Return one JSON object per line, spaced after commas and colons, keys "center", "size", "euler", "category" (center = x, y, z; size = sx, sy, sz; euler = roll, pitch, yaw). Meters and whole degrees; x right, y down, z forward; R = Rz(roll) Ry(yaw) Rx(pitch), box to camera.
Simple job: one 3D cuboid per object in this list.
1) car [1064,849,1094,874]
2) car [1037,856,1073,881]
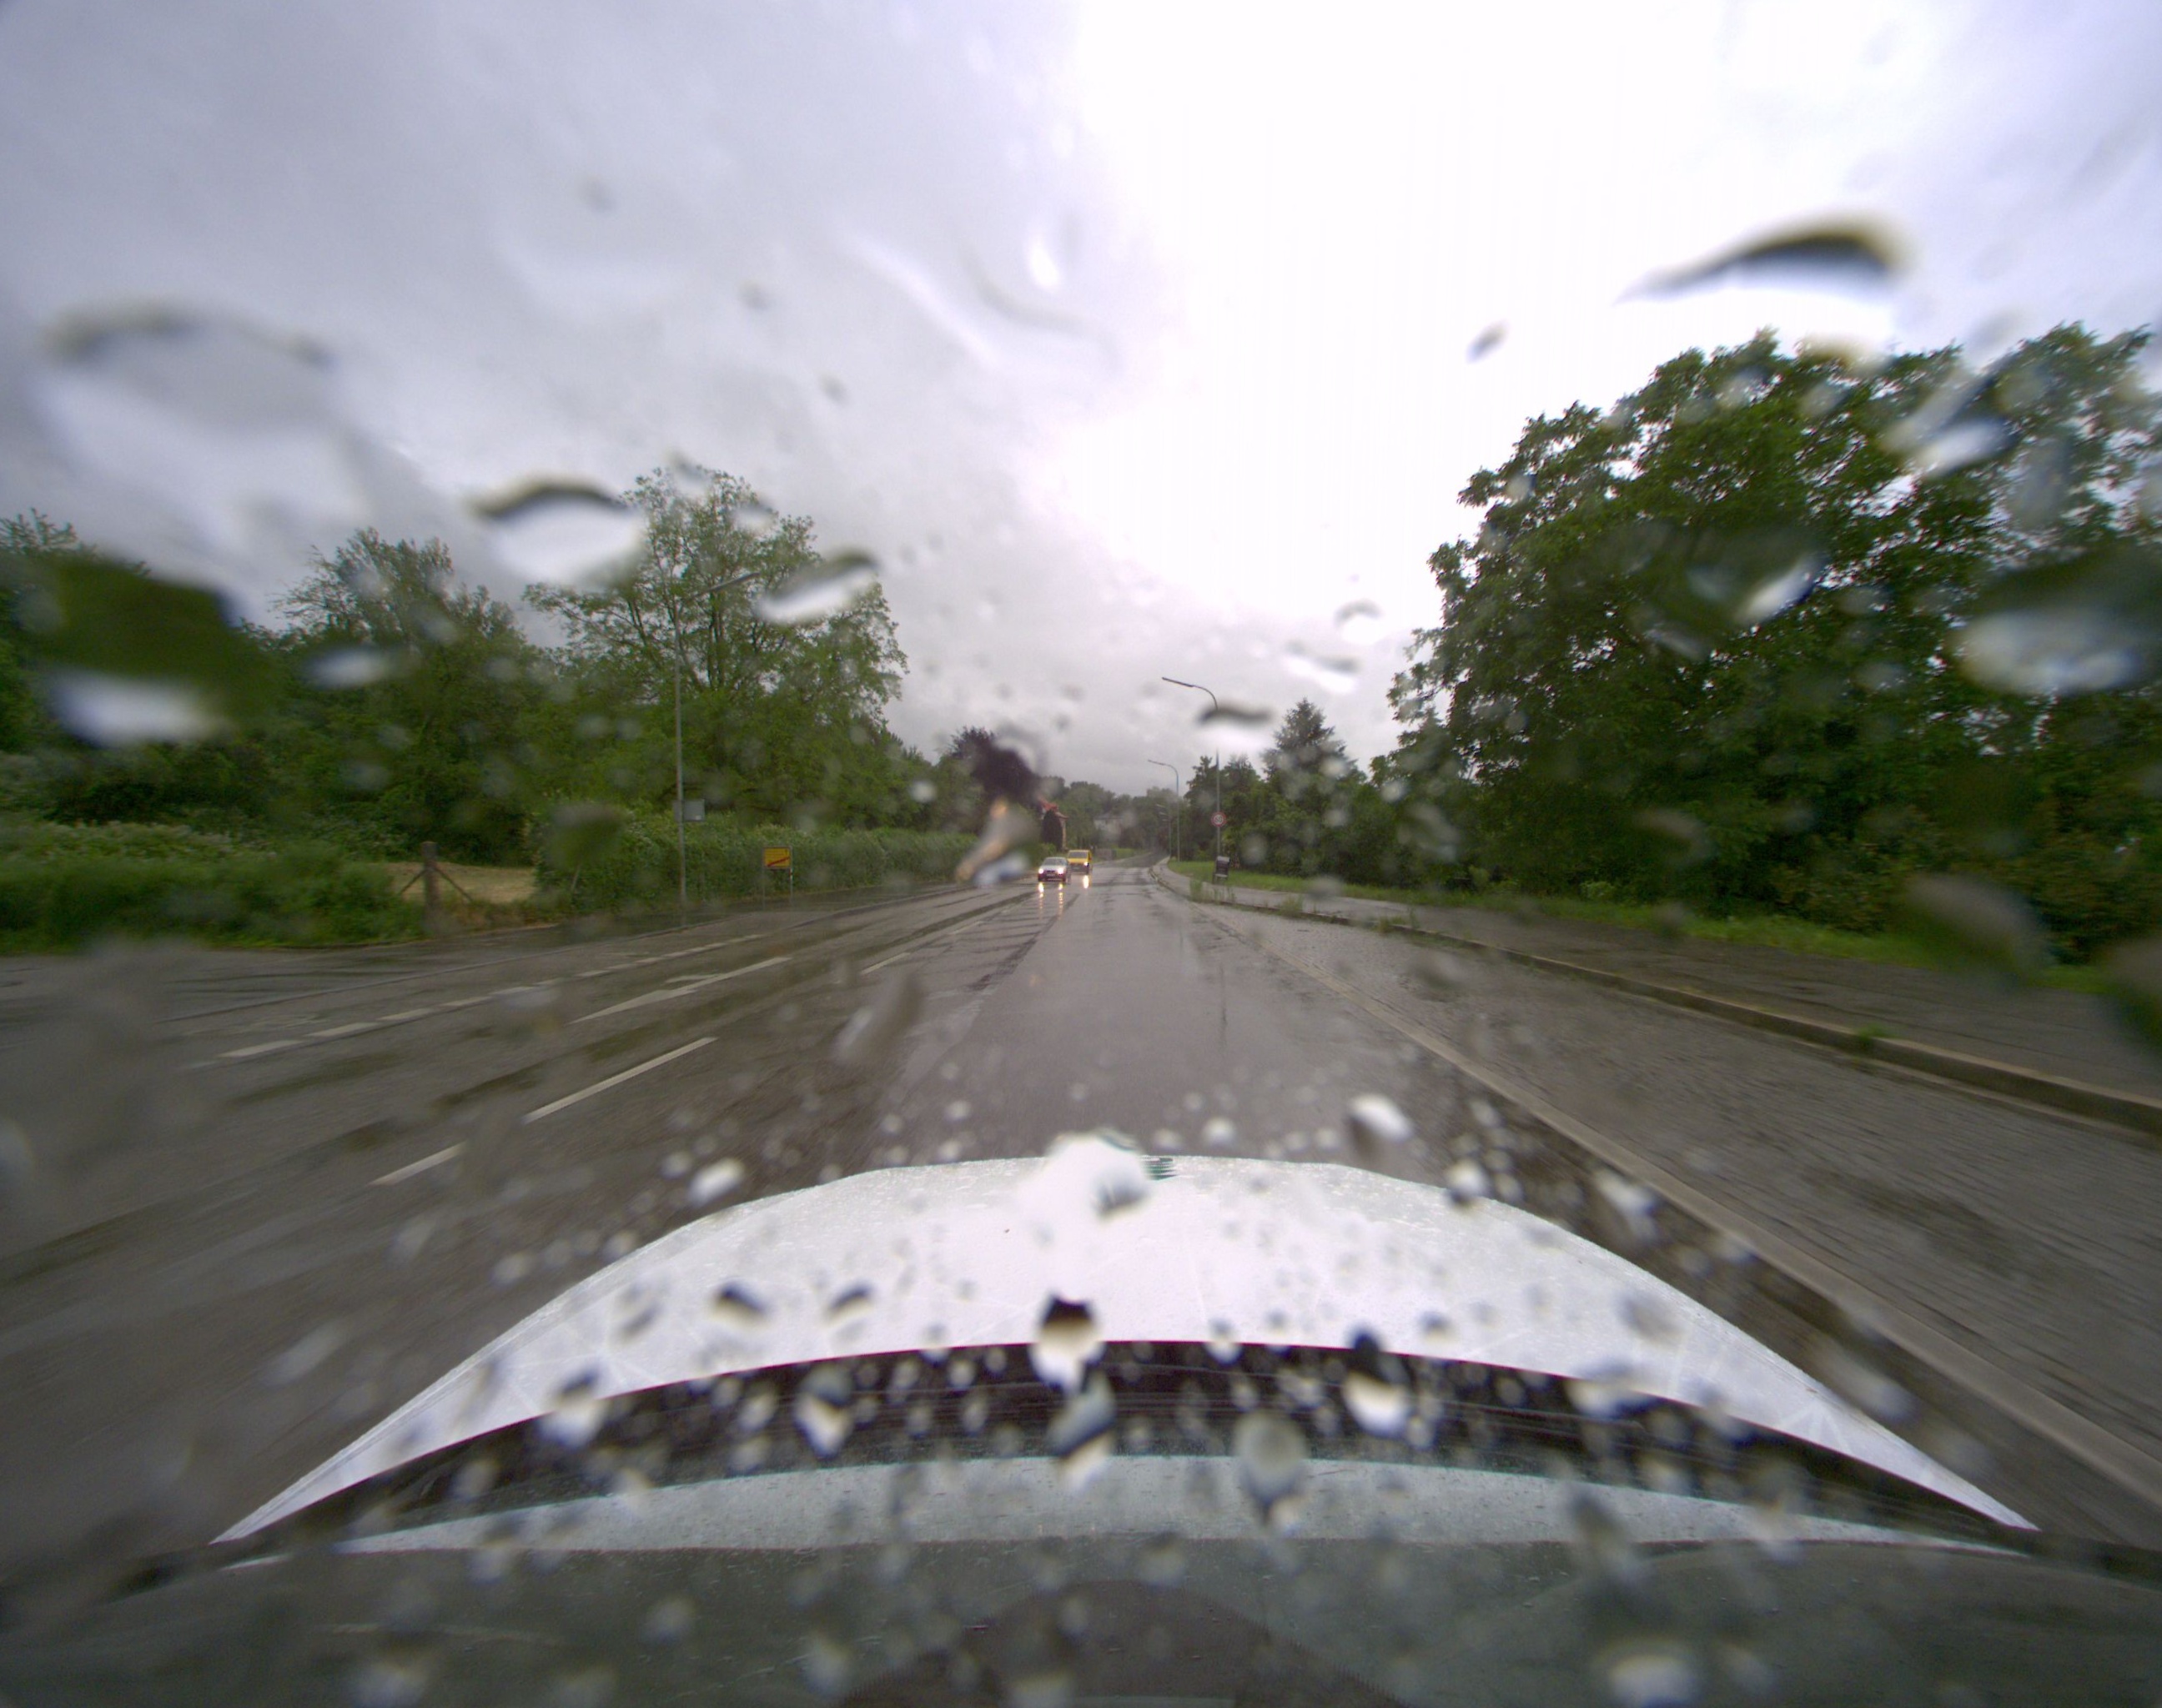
{"center": [-0.085, 0.548, 64.836], "size": [1.928, 1.871, 5.043], "euler": [-1, 0, 5], "category": "car"}
{"center": [-1.483, 0.836, 47.884], "size": [1.694, 1.349, 3.909], "euler": [-1, 0, 3], "category": "car"}
